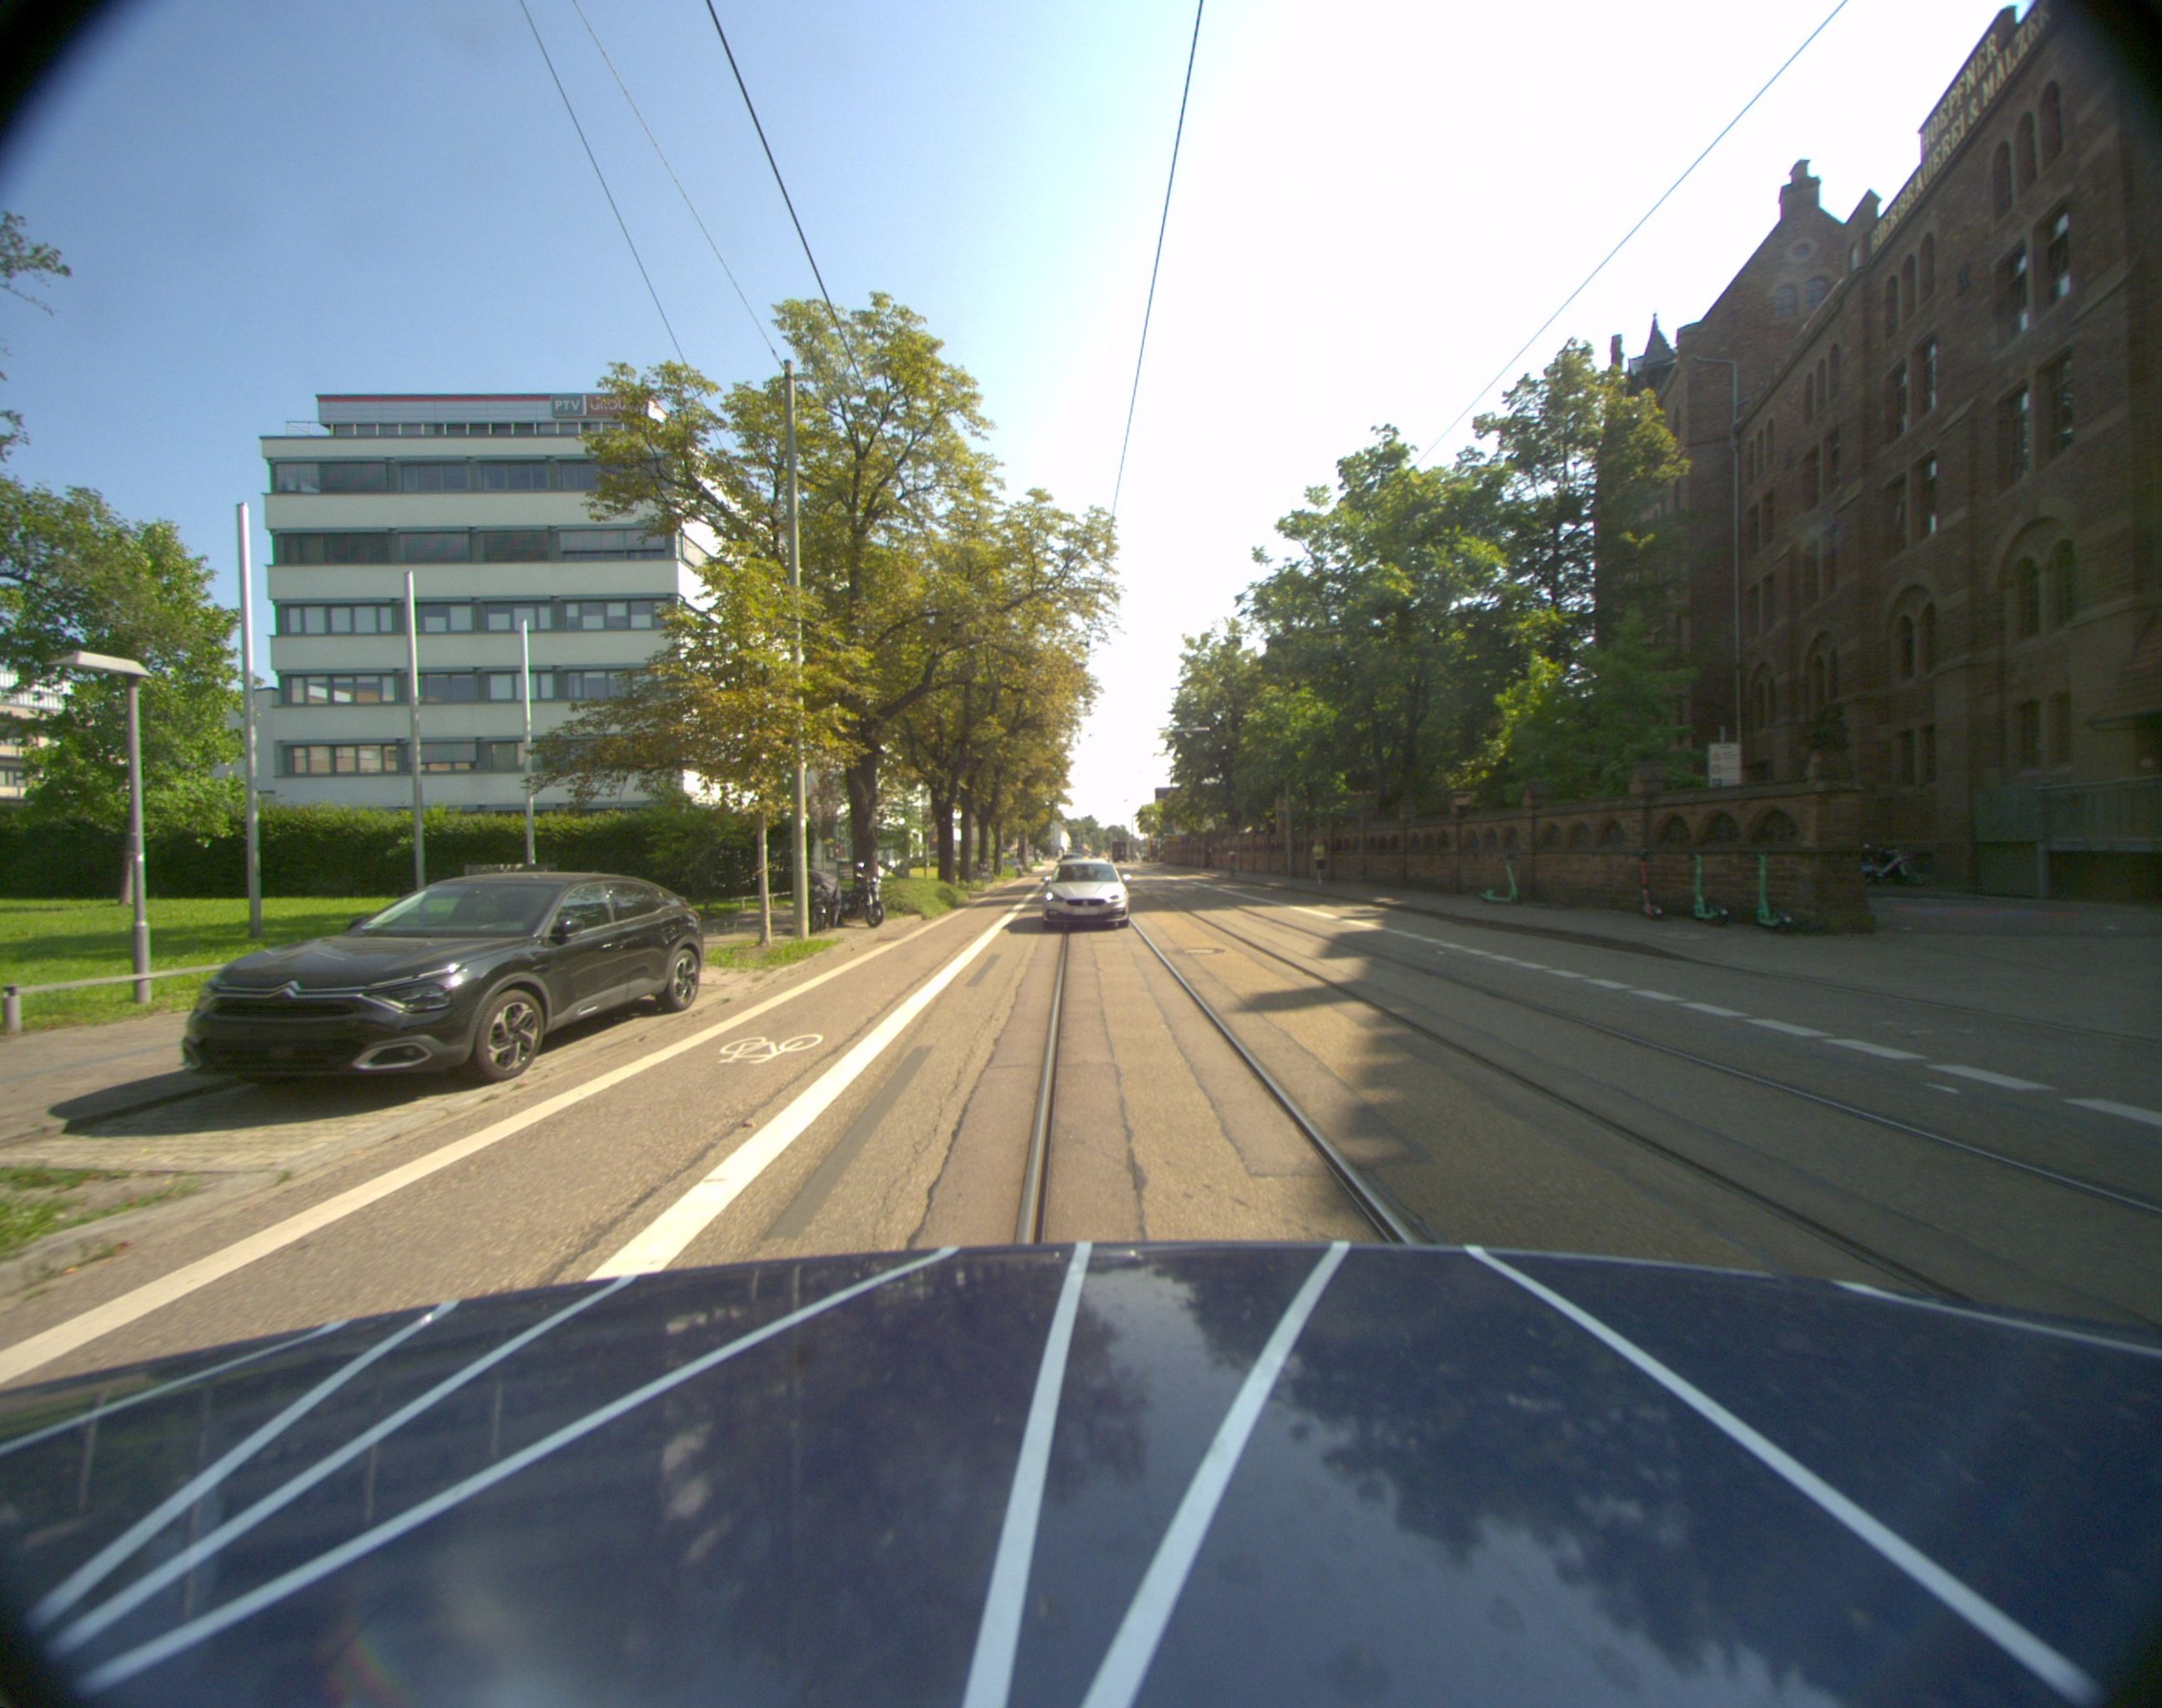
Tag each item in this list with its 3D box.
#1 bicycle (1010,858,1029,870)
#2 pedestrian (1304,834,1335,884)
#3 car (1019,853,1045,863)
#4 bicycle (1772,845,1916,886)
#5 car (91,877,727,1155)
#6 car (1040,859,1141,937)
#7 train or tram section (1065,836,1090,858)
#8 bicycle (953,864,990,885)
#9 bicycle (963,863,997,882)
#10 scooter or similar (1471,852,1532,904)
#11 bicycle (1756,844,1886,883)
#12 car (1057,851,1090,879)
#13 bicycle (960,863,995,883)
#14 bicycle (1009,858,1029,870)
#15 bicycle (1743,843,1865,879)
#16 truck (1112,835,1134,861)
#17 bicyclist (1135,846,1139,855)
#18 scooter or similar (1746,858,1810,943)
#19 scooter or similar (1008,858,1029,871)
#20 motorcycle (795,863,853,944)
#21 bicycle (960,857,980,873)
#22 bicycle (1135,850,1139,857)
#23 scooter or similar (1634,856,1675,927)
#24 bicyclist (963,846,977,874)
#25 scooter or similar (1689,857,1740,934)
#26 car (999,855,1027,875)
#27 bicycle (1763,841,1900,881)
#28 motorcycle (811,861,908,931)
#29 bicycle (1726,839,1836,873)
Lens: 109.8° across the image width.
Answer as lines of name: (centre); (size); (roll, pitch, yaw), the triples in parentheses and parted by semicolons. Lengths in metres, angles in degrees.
bicycle: (-5.694, 0.921, 70.249); (1.776, 1.065, 0.540); (-1, 1, -1)
pedestrian: (9.697, 0.199, 30.916); (0.866, 2.002, 0.983); (-2, 1, -2)
car: (-8.784, 0.716, 135.651); (4.553, 1.506, 1.960); (-2, 1, -5)
bicycle: (21.181, 0.329, 21.183); (2.681, 1.090, 0.902); (-2, 1, 29)
car: (-5.143, 1.052, 6.928); (1.760, 1.507, 4.608); (0, 1, -1)
car: (0.161, 0.874, 17.288); (1.928, 1.465, 4.816); (-2, 0, -1)
train or tram section: (-0.561, -1.320, 146.548); (4.111, 3.711, 24.377); (-2, 0, 1)
bicycle: (-5.489, 1.024, 38.064); (1.776, 1.043, 0.540); (-1, 1, -1)
bicycle: (-5.476, 1.002, 41.221); (1.776, 1.043, 0.540); (-1, 1, -1)
scooter or similar: (9.847, 0.539, 17.833); (0.422, 1.172, 1.315); (-2, 1, -16)
bicycle: (22.293, 0.291, 22.980); (2.681, 1.090, 0.902); (-2, 1, 29)
car: (-0.446, 0.616, 45.859); (1.834, 1.543, 4.032); (-2, 0, -1)
bicycle: (-5.518, 1.008, 40.543); (1.776, 1.043, 0.540); (-1, 1, -1)
bicycle: (-5.704, 0.921, 70.226); (1.776, 1.065, 0.540); (-1, 1, -1)
bicycle: (23.021, 0.233, 24.287); (2.681, 1.090, 0.902); (-2, 1, 29)
truck: (7.828, -1.060, 140.411); (3.171, 4.427, 16.846); (-2, 0, 6)
bicyclist: (12.304, -0.825, 167.302); (0.642, 1.919, 1.176); (-2, 2, 7)
scooter or similar: (10.278, 0.659, 11.228); (0.340, 1.172, 1.180); (-1, 1, 25)
scooter or similar: (-5.594, 0.933, 68.016); (1.776, 1.065, 0.540); (-1, 1, -1)
motorcycle: (-5.414, 0.965, 15.891); (0.854, 1.507, 2.450); (-2, 1, -25)
bicycle: (-8.049, 0.794, 55.375); (1.138, 1.118, 2.536); (-2, 0, -3)
bicycle: (12.356, -0.140, 167.277); (0.787, 1.233, 2.034); (-5, 2, 7)
scooter or similar: (10.197, 0.646, 13.534); (0.340, 1.172, 1.180); (-1, 1, 25)
bicyclist: (-8.051, 0.441, 55.273); (0.783, 2.002, 1.274); (-2, 1, -3)
scooter or similar: (10.290, 0.651, 12.362); (0.340, 1.172, 1.180); (-1, 1, 25)
car: (-5.252, 0.799, 58.789); (1.760, 1.453, 4.274); (-1, 0, 0)
bicycle: (21.667, 0.202, 22.039); (2.681, 1.090, 0.902); (-2, 1, 29)
motorcycle: (-5.152, 0.945, 17.592); (2.448, 1.507, 0.854); (-1, 1, 38)
bicycle: (24.444, 0.081, 26.611); (2.681, 1.090, 0.902); (-2, 1, 29)
